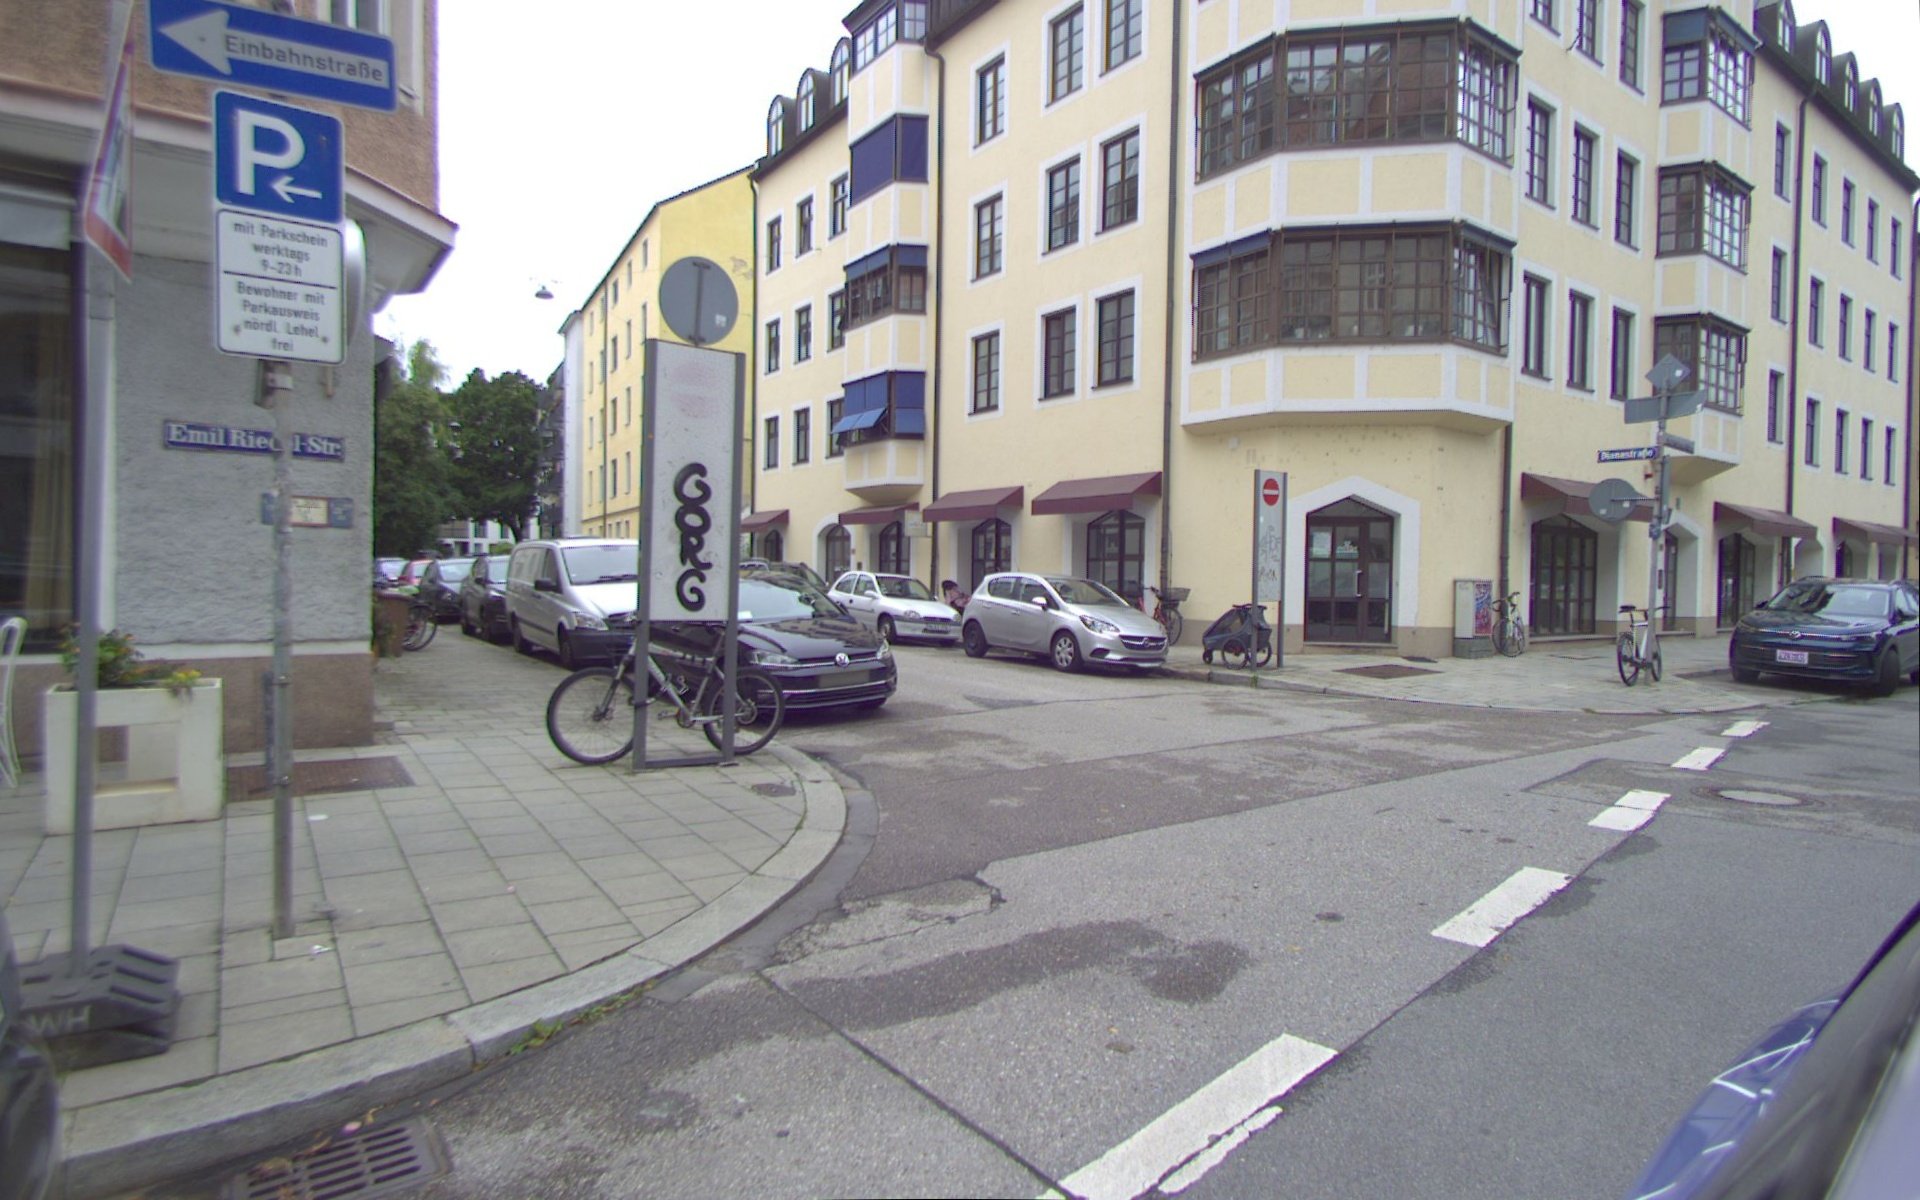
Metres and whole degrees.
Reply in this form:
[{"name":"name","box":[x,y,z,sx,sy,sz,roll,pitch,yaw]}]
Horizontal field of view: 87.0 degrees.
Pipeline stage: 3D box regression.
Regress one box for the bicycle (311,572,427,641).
[{"name":"bicycle","box":[-10.501,0.083,18.051,0.415,1.157,1.776,2,2,37]}]

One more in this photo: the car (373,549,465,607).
[{"name":"car","box":[-16.563,-0.734,30.846,1.941,1.587,4.672,-1,3,-35]}]

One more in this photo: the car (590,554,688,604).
[{"name":"car","box":[-10.928,-0.741,34.268,1.941,1.587,4.432,-1,2,-35]}]

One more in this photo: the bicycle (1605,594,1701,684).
[{"name":"bicycle","box":[9.912,0.527,14.444,2.014,1.173,0.431,-1,3,-35]}]

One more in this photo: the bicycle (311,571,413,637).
[{"name":"bicycle","box":[-12.121,0.053,20.565,0.415,1.275,1.776,2,2,37]}]

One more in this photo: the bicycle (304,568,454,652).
[{"name":"bicycle","box":[-8.547,0.118,14.978,0.472,1.157,1.903,2,3,37]}]

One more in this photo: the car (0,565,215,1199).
[{"name":"car","box":[-3.240,0.669,0.436,4.699,1.422,1.852,0,2,-37]}]

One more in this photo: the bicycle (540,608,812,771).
[{"name":"bicycle","box":[-1.987,0.594,7.214,1.768,1.017,0.497,1,3,-34]}]

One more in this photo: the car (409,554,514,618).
[{"name":"car","box":[-13.073,-0.384,26.395,1.940,1.522,4.673,0,1,-33]}]

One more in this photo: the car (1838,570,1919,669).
[{"name":"car","box":[18.143,0.339,18.622,4.083,1.607,1.822,-1,7,-33]}]

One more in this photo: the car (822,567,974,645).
[{"name":"car","box":[-1.340,0.055,20.628,1.607,1.353,3.459,-1,3,-32]}]

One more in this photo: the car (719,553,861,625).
[{"name":"car","box":[-4.241,-0.323,24.721,1.947,1.603,4.031,-1,2,-34]}]

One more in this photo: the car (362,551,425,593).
[{"name":"car","box":[-23.368,-1.191,41.664,1.940,1.587,4.674,-1,3,-33]}]

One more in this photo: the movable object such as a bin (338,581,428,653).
[{"name":"movable object such as a bin","box":[-8.236,0.233,14.446,0.953,0.962,0.733,1,2,-44]}]

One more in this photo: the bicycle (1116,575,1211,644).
[{"name":"bicycle","box":[3.774,0.148,18.931,0.505,1.201,1.907,0,2,-35]}]

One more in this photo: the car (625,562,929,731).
[{"name":"car","box":[-2.195,0.351,11.272,1.857,1.506,3.886,-1,3,-36]}]

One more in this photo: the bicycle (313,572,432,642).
[{"name":"bicycle","box":[-10.211,0.087,17.642,0.415,1.157,1.776,2,2,37]}]

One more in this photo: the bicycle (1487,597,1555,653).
[{"name":"bicycle","box":[9.953,0.433,17.941,1.663,0.912,0.263,-1,6,-34]}]

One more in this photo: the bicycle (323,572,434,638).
[{"name":"bicycle","box":[-10.726,0.073,18.732,0.415,1.157,1.776,2,2,37]}]

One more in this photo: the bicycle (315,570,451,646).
[{"name":"bicycle","box":[-9.305,0.101,16.391,0.415,1.157,1.903,2,2,37]}]

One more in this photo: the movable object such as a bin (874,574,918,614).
[{"name":"movable object such as a bin","box":[-1.716,-0.169,26.852,0.671,1.026,1.127,-1,3,-35]}]

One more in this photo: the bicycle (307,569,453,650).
[{"name":"bicycle","box":[-8.832,0.111,15.488,0.472,1.157,1.903,2,3,37]}]

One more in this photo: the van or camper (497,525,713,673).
[{"name":"van or camper","box":[-5.707,-0.143,15.831,1.924,1.942,4.917,-2,3,-35]}]

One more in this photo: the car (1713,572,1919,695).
[{"name":"car","box":[13.838,0.408,15.801,4.412,1.642,2.113,-1,2,-36]}]

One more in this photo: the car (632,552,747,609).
[{"name":"car","box":[-8.203,-0.628,30.462,1.941,1.587,4.432,-1,2,-35]}]

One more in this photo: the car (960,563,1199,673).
[{"name":"car","box":[1.760,0.221,16.031,1.717,1.458,3.750,3,1,-32]}]

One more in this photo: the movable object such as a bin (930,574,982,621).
[{"name":"movable object such as a bin","box":[-0.112,-0.081,24.597,0.753,1.094,1.127,-1,3,-35]}]

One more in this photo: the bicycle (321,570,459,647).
[{"name":"bicycle","box":[-9.004,0.104,16.065,0.415,1.157,1.903,2,2,37]}]

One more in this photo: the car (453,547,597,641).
[{"name":"car","box":[-8.801,-0.201,20.276,1.940,1.664,4.000,-1,3,-34]}]

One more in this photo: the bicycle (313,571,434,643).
[{"name":"bicycle","box":[-9.985,0.091,17.287,0.415,1.157,1.776,2,2,37]}]

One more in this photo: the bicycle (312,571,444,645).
[{"name":"bicycle","box":[-9.636,0.096,16.827,0.415,1.157,1.903,2,2,37]}]

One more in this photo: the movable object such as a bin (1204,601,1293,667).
[{"name":"movable object such as a bin","box":[4.358,0.494,15.333,0.671,0.911,1.127,-1,3,-35]}]

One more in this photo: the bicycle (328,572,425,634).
[{"name":"bicycle","box":[-12.418,0.040,21.571,0.415,1.275,1.776,2,2,37]}]
